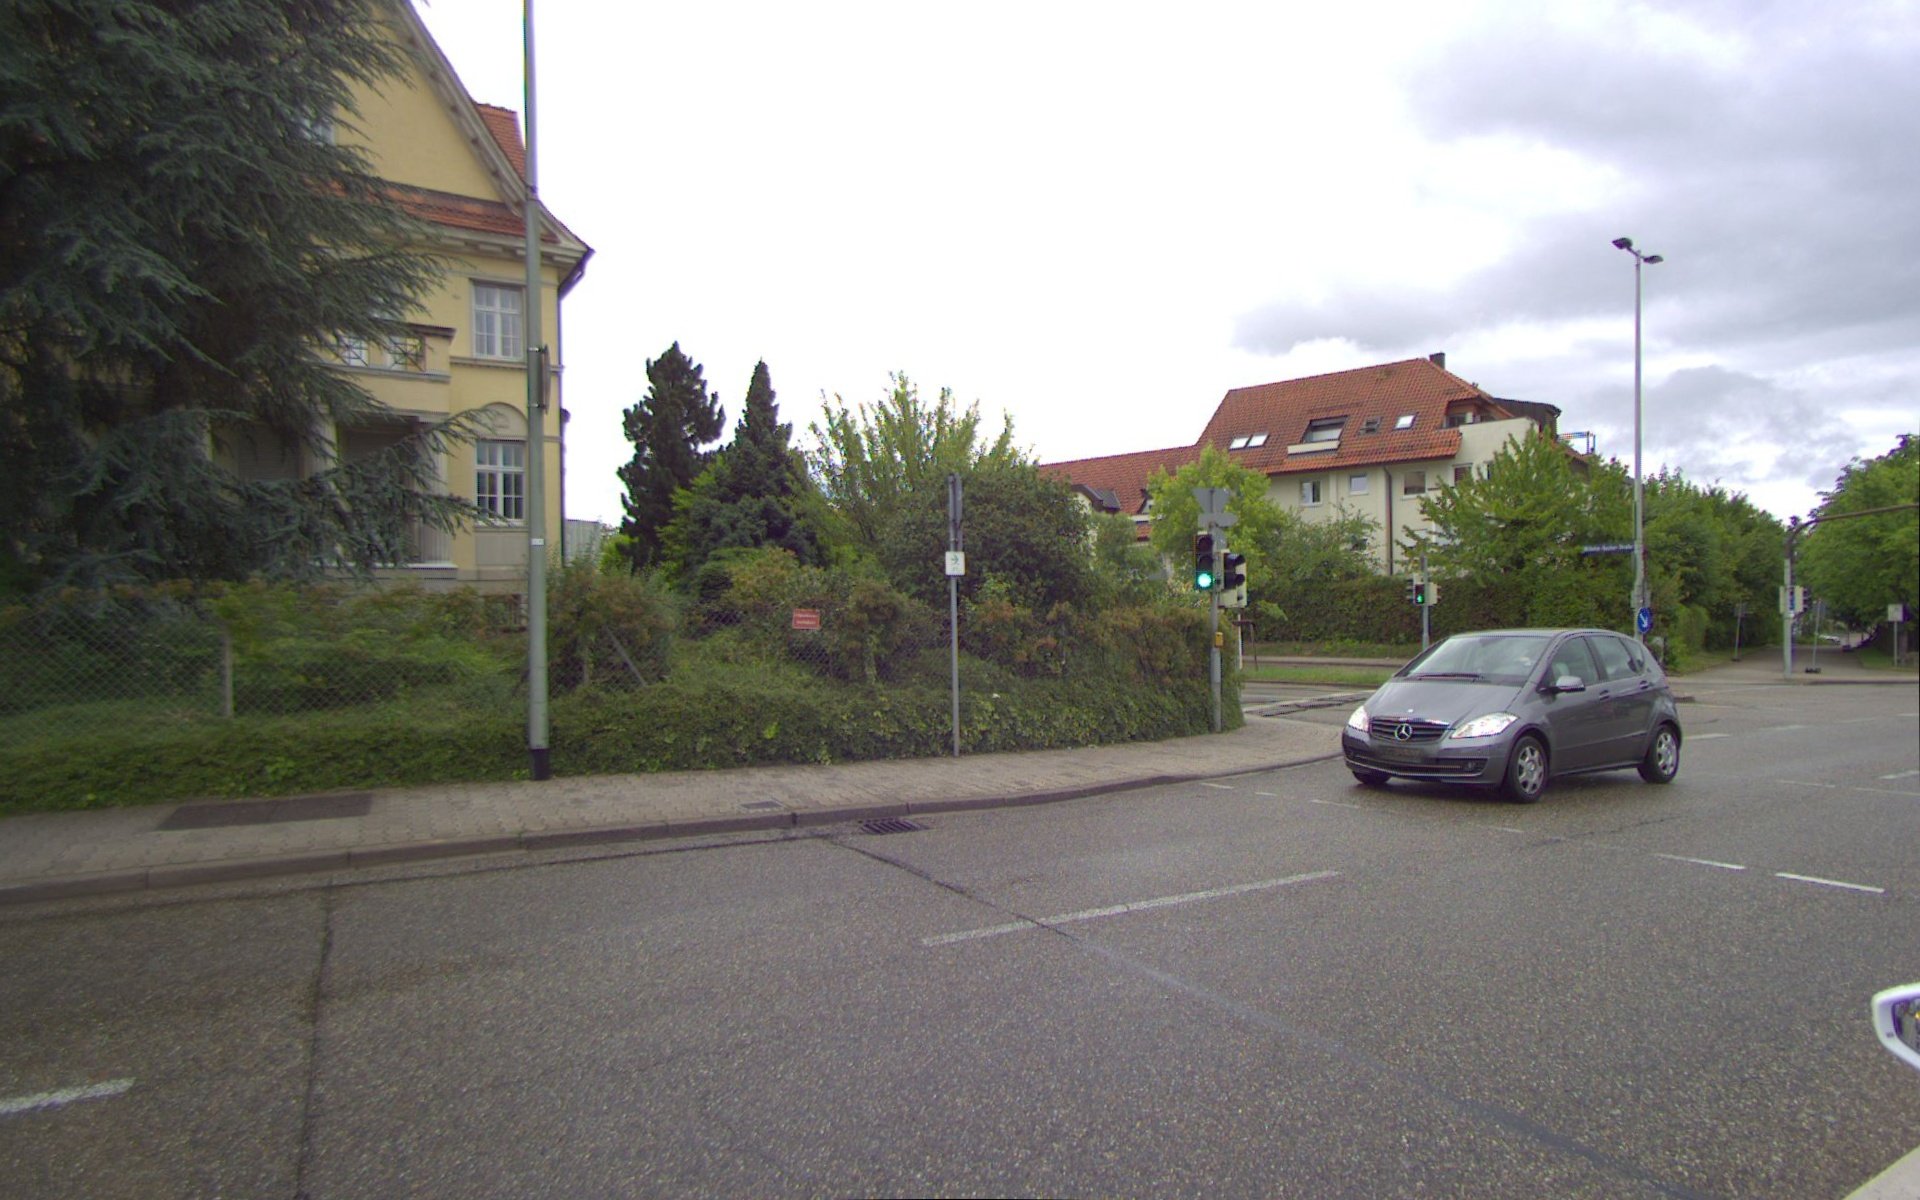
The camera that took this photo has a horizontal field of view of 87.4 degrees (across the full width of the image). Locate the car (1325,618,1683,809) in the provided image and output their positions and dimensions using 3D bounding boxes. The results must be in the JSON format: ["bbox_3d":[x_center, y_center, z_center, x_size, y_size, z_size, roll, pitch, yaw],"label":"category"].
[{"bbox_3d":[5.572,1.033,10.219,3.510,1.620,1.690,1,-3,-32],"label":"car"}]
